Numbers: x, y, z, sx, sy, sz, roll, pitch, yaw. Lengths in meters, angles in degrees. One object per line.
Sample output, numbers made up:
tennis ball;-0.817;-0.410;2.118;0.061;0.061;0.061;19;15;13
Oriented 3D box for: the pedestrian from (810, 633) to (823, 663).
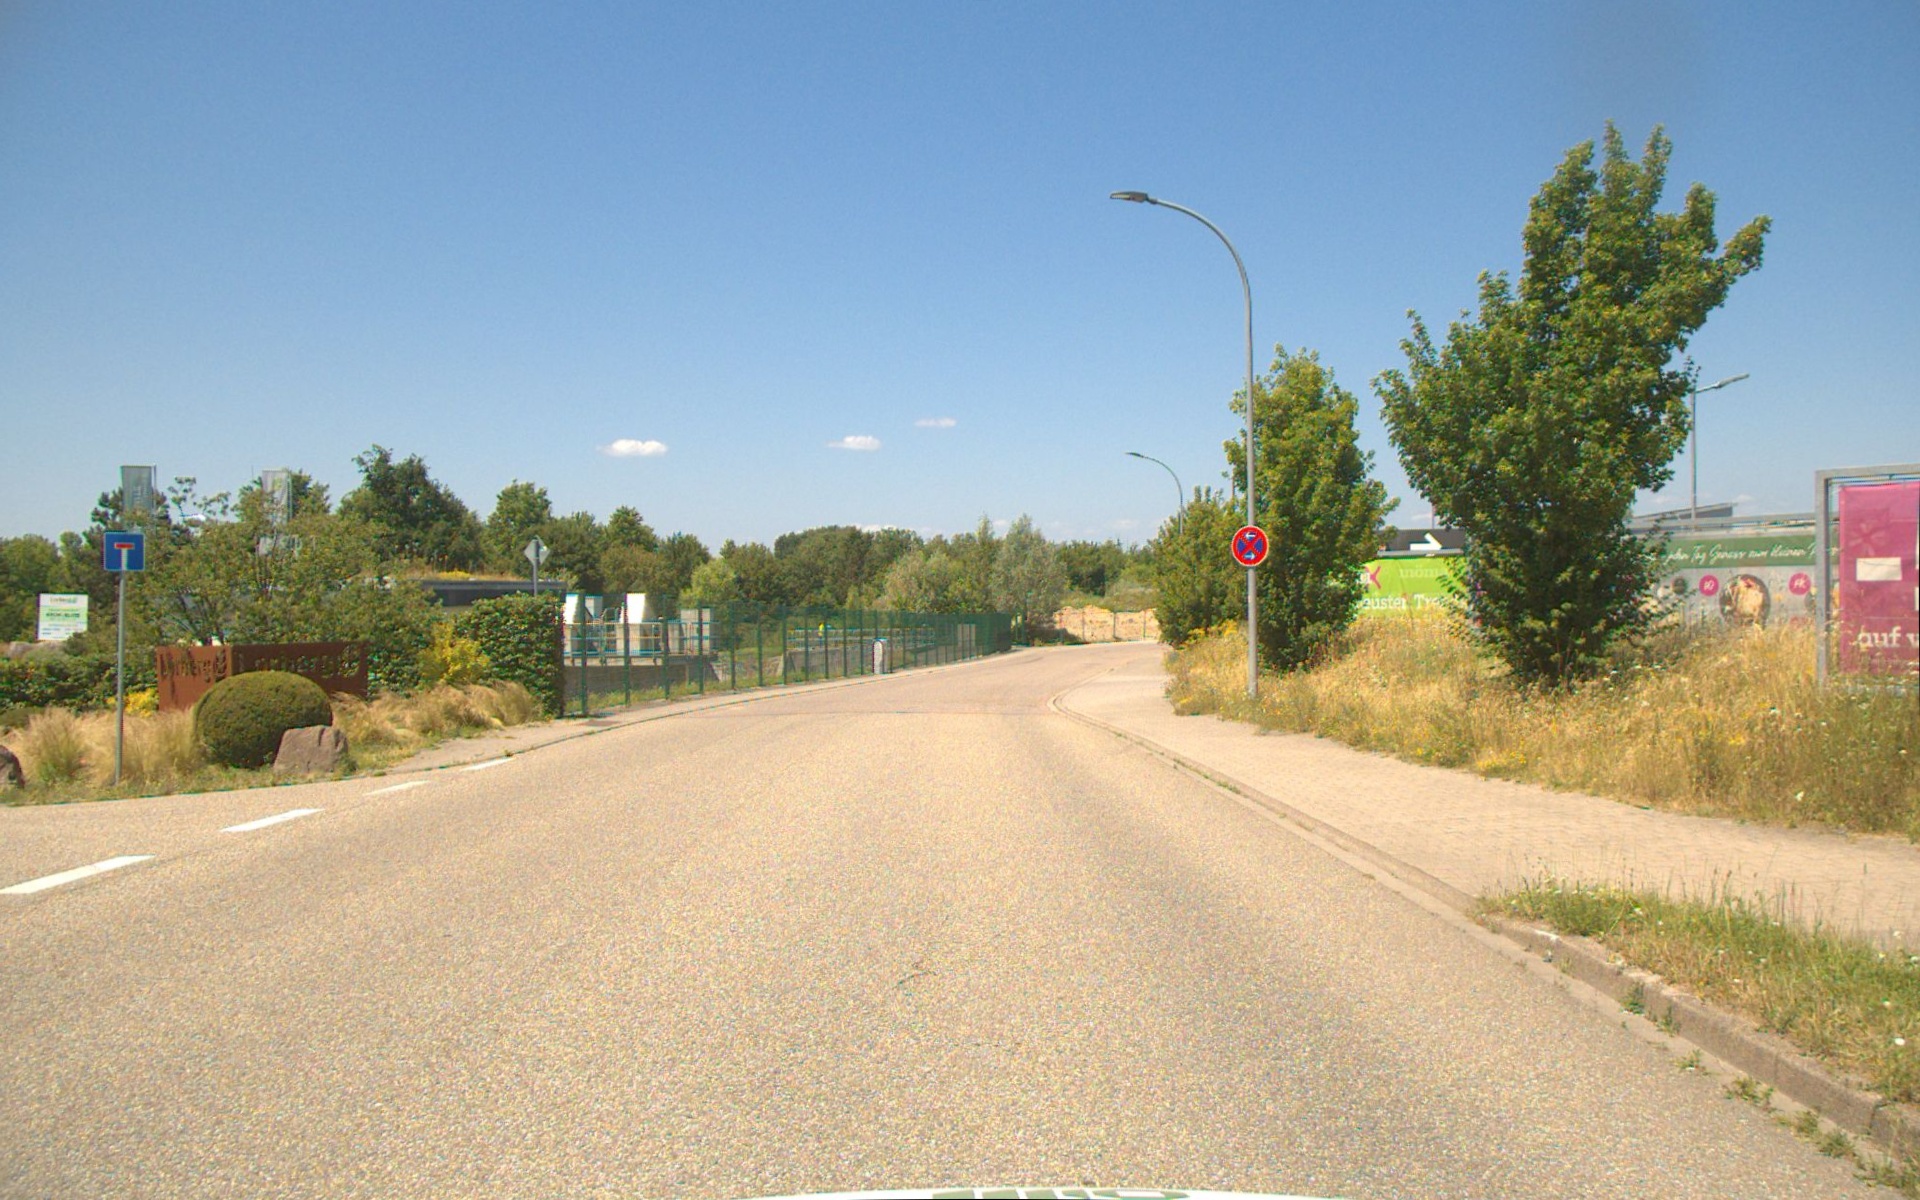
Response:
pedestrian;-9.072;3.048;104.354;0.593;1.871;0.805;-2;-1;7
